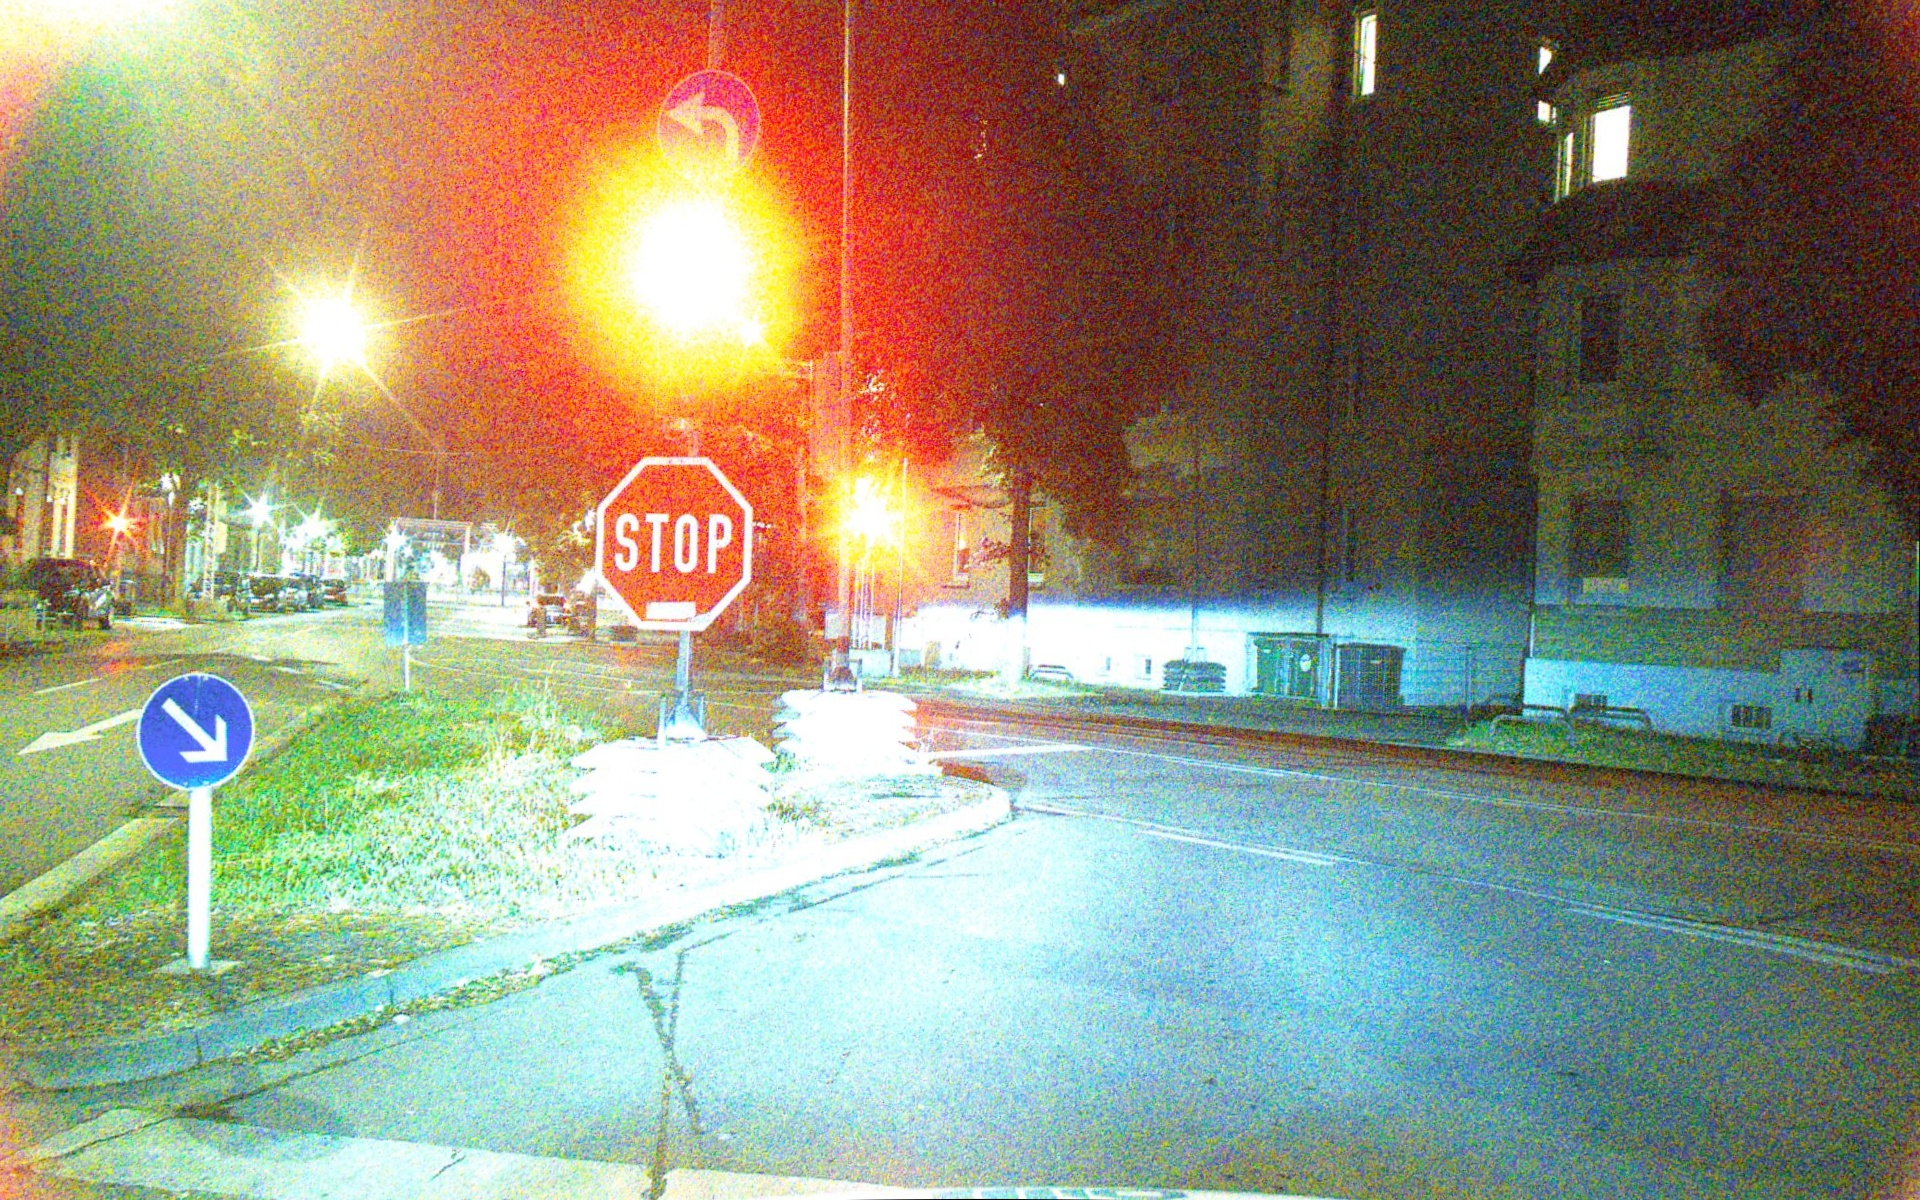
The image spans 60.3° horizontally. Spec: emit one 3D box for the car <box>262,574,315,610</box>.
[{"bbox_3d":[-29.233,-0.335,72.091,1.624,1.456,3.983,2,0,-15],"label":"car"}]

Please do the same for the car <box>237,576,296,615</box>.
[{"bbox_3d":[-27.673,-0.199,66.086,1.624,1.456,3.983,2,0,-15],"label":"car"}]

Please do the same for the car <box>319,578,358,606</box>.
[{"bbox_3d":[-34.447,-0.458,91.735,1.624,1.456,3.983,2,0,-15],"label":"car"}]

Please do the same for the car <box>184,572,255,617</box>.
[{"bbox_3d":[-25.961,-0.186,58.075,1.624,1.456,3.983,2,0,-15],"label":"car"}]

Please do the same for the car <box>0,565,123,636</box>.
[{"bbox_3d":[-20.240,0.005,37.307,1.624,1.456,3.983,2,0,-15],"label":"car"}]

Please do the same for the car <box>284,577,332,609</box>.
[{"bbox_3d":[-30.916,-0.333,78.518,1.624,1.456,3.983,2,0,-15],"label":"car"}]

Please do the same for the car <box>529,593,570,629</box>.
[{"bbox_3d":[-17.788,0.445,71.613,1.623,1.456,3.985,2,0,-14],"label":"car"}]
